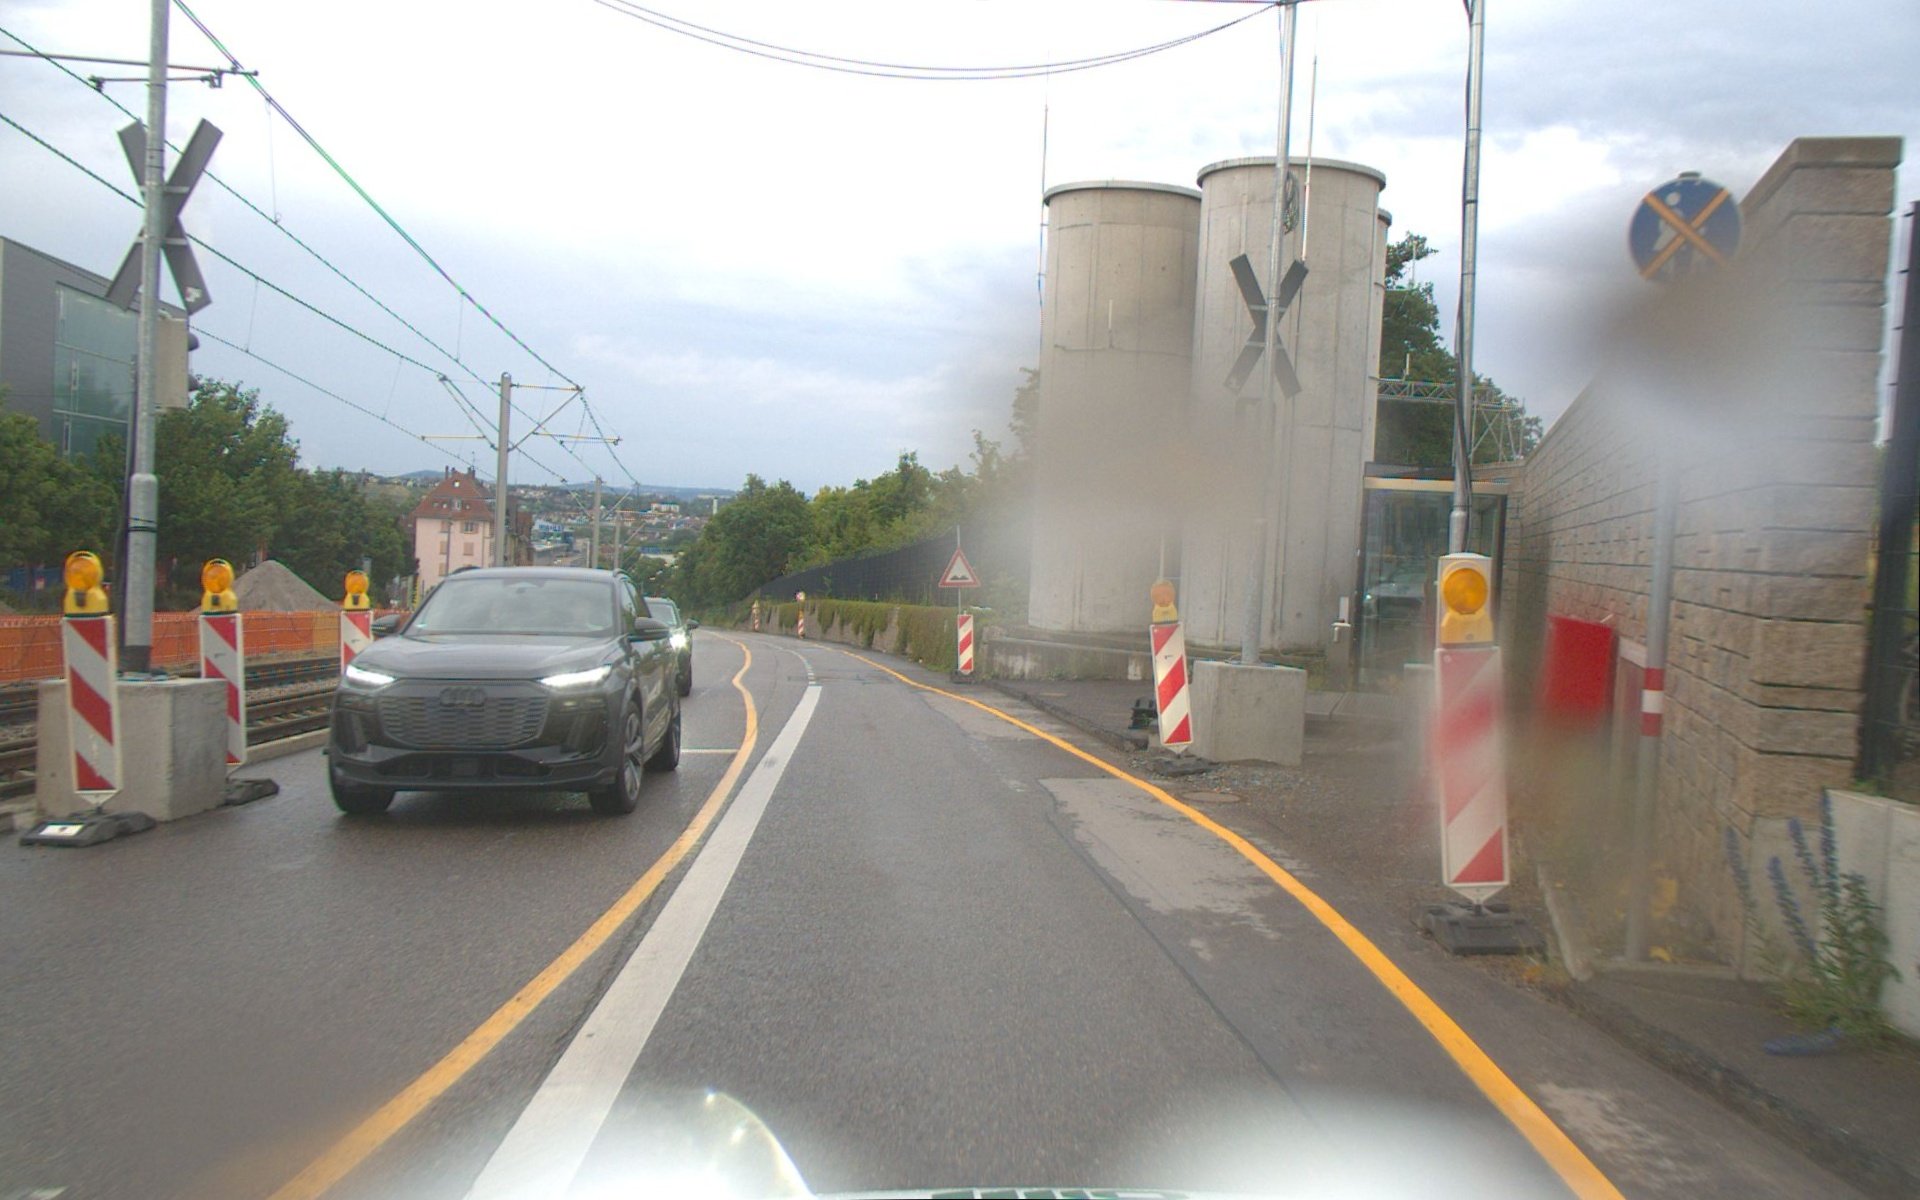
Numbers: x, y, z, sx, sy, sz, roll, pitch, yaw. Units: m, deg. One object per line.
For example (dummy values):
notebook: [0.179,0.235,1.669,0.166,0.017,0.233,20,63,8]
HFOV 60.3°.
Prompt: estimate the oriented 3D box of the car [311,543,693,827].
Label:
car: [-3.158,0.511,12.371,1.955,1.707,4.483,1,0,-5]

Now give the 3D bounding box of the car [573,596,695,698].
car: [-5.167,0.695,26.617,1.755,1.489,3.943,0,0,-9]
